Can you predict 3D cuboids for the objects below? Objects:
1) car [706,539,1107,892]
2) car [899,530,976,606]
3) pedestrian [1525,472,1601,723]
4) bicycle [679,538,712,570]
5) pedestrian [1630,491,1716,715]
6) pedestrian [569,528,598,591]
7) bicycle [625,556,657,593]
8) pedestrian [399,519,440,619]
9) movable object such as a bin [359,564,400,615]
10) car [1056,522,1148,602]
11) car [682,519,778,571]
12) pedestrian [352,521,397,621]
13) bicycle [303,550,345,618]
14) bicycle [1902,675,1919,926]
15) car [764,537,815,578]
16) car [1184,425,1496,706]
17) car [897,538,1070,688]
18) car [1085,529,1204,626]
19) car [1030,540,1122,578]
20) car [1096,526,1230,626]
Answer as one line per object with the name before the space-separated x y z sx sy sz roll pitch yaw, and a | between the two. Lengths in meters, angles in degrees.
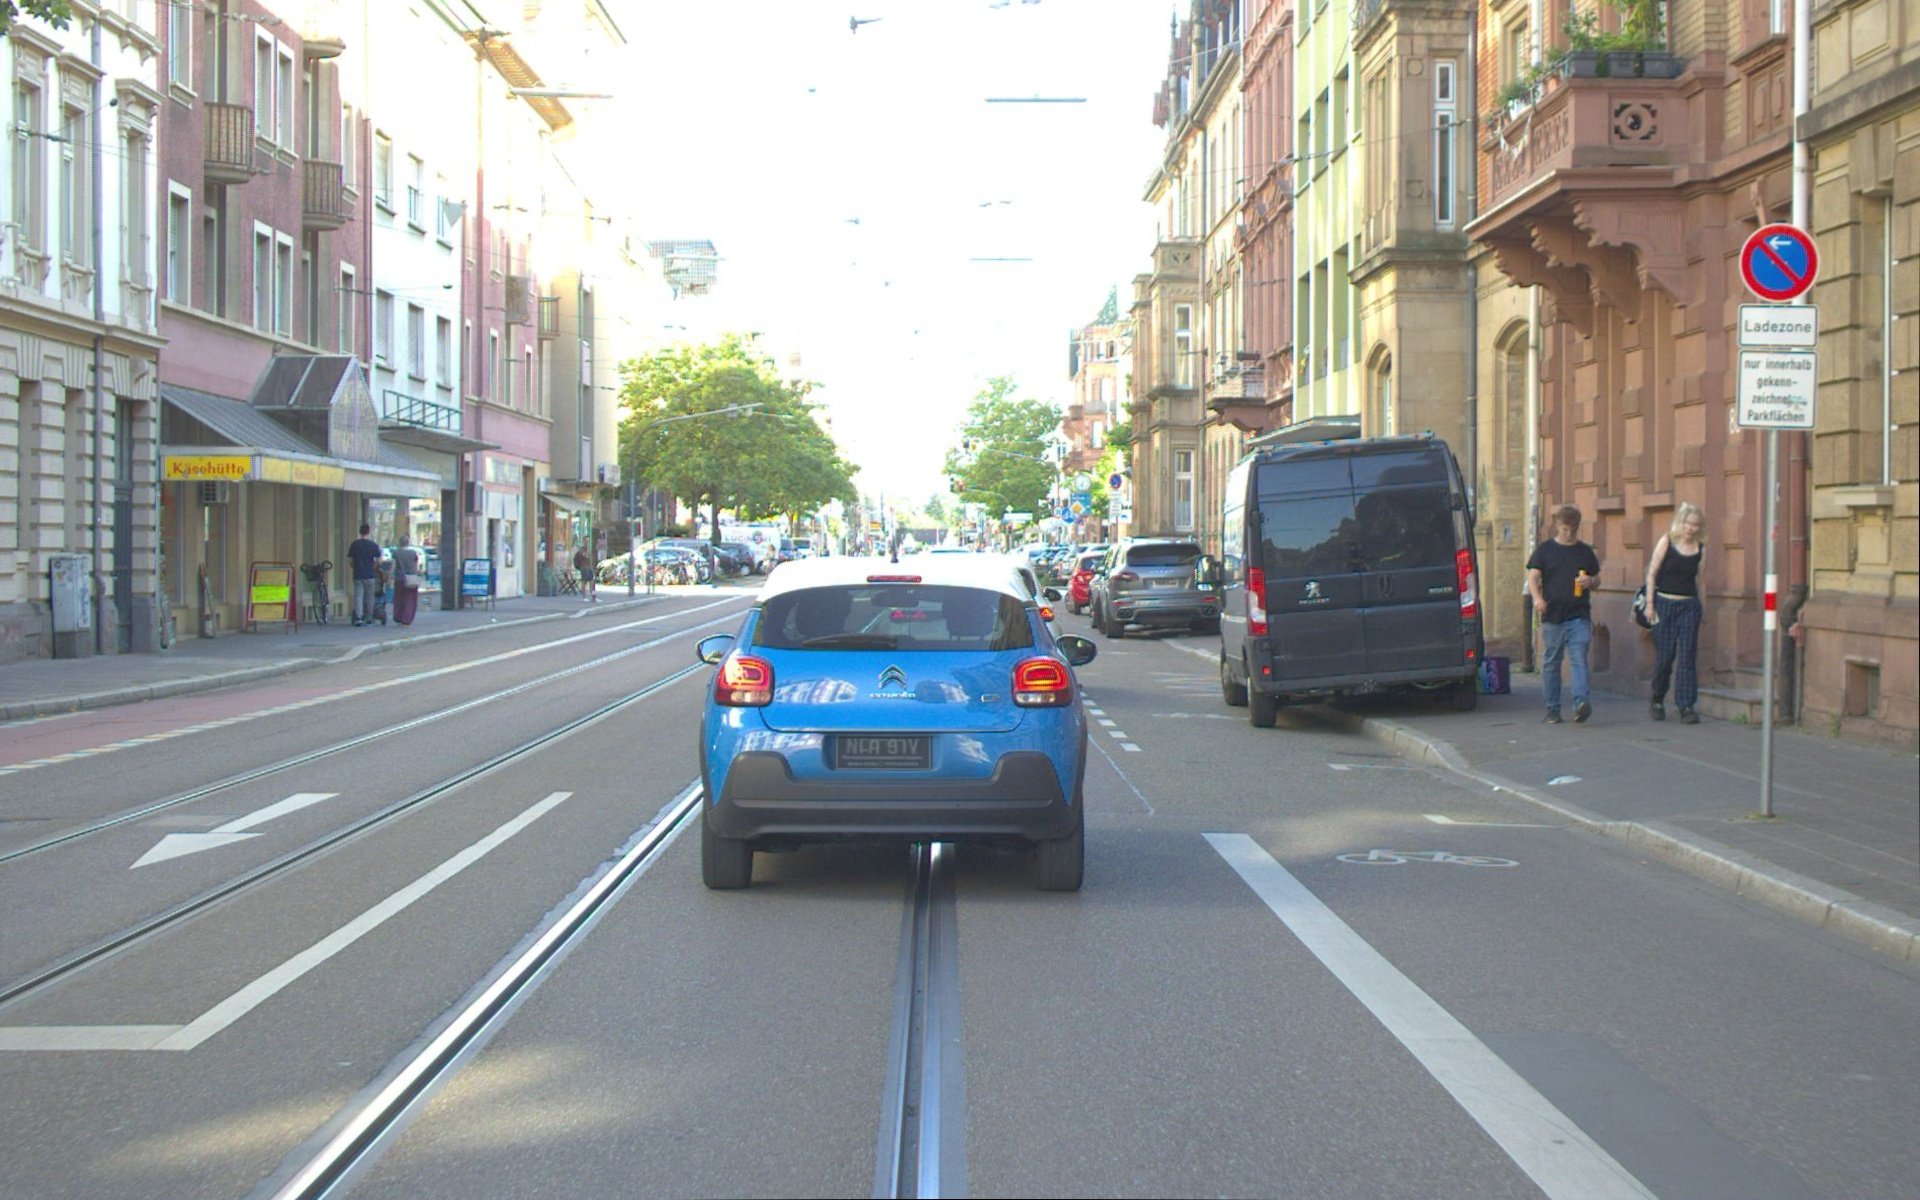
car | -0.369 0.451 16.508 1.673 1.472 4.001 0 1 -5
car | -0.640 -0.884 92.920 1.993 2.007 4.000 0 1 -1
pedestrian | 4.890 -0.026 27.889 0.585 2.007 0.823 0 1 10
bicycle | -9.595 -1.659 124.555 1.120 1.142 3.645 0 1 -6
pedestrian | 5.712 0.020 27.561 0.553 1.776 0.606 0 1 -2
pedestrian | -9.838 -1.071 89.937 0.685 1.633 0.675 0 1 -1
bicycle | -11.549 -0.935 124.335 1.120 1.315 3.645 0 1 -6
pedestrian | -9.603 -0.555 61.119 0.710 1.758 0.655 0 1 -8
movable object such as a bin | -10.387 -0.187 61.548 0.610 0.911 0.695 0 1 0
car | 3.433 -0.952 83.913 2.005 1.666 4.392 -1 4 0
car | -11.564 -2.764 172.975 4.307 2.572 2.210 -1 1 -26
pedestrian | -10.361 -0.522 60.837 0.710 1.758 0.570 0 1 -1
bicycle | -11.205 -0.292 60.535 0.621 1.155 2.066 -1 1 -13
bicycle | 3.934 0.775 12.297 0.431 0.944 1.764 0 1 -8
car | -6.947 -1.733 140.382 1.993 1.645 4.000 0 1 -1
car | 3.480 -0.340 32.661 2.271 2.428 5.720 0 1 -1
car | 0.197 0.094 35.879 1.667 1.473 4.000 0 1 -1
car | 3.432 -0.445 64.549 1.905 1.751 4.000 0 1 -1
car | 5.040 -1.794 149.587 3.835 1.612 1.792 0 1 -2
car | 3.482 -0.441 59.889 2.005 1.667 4.806 0 1 0
